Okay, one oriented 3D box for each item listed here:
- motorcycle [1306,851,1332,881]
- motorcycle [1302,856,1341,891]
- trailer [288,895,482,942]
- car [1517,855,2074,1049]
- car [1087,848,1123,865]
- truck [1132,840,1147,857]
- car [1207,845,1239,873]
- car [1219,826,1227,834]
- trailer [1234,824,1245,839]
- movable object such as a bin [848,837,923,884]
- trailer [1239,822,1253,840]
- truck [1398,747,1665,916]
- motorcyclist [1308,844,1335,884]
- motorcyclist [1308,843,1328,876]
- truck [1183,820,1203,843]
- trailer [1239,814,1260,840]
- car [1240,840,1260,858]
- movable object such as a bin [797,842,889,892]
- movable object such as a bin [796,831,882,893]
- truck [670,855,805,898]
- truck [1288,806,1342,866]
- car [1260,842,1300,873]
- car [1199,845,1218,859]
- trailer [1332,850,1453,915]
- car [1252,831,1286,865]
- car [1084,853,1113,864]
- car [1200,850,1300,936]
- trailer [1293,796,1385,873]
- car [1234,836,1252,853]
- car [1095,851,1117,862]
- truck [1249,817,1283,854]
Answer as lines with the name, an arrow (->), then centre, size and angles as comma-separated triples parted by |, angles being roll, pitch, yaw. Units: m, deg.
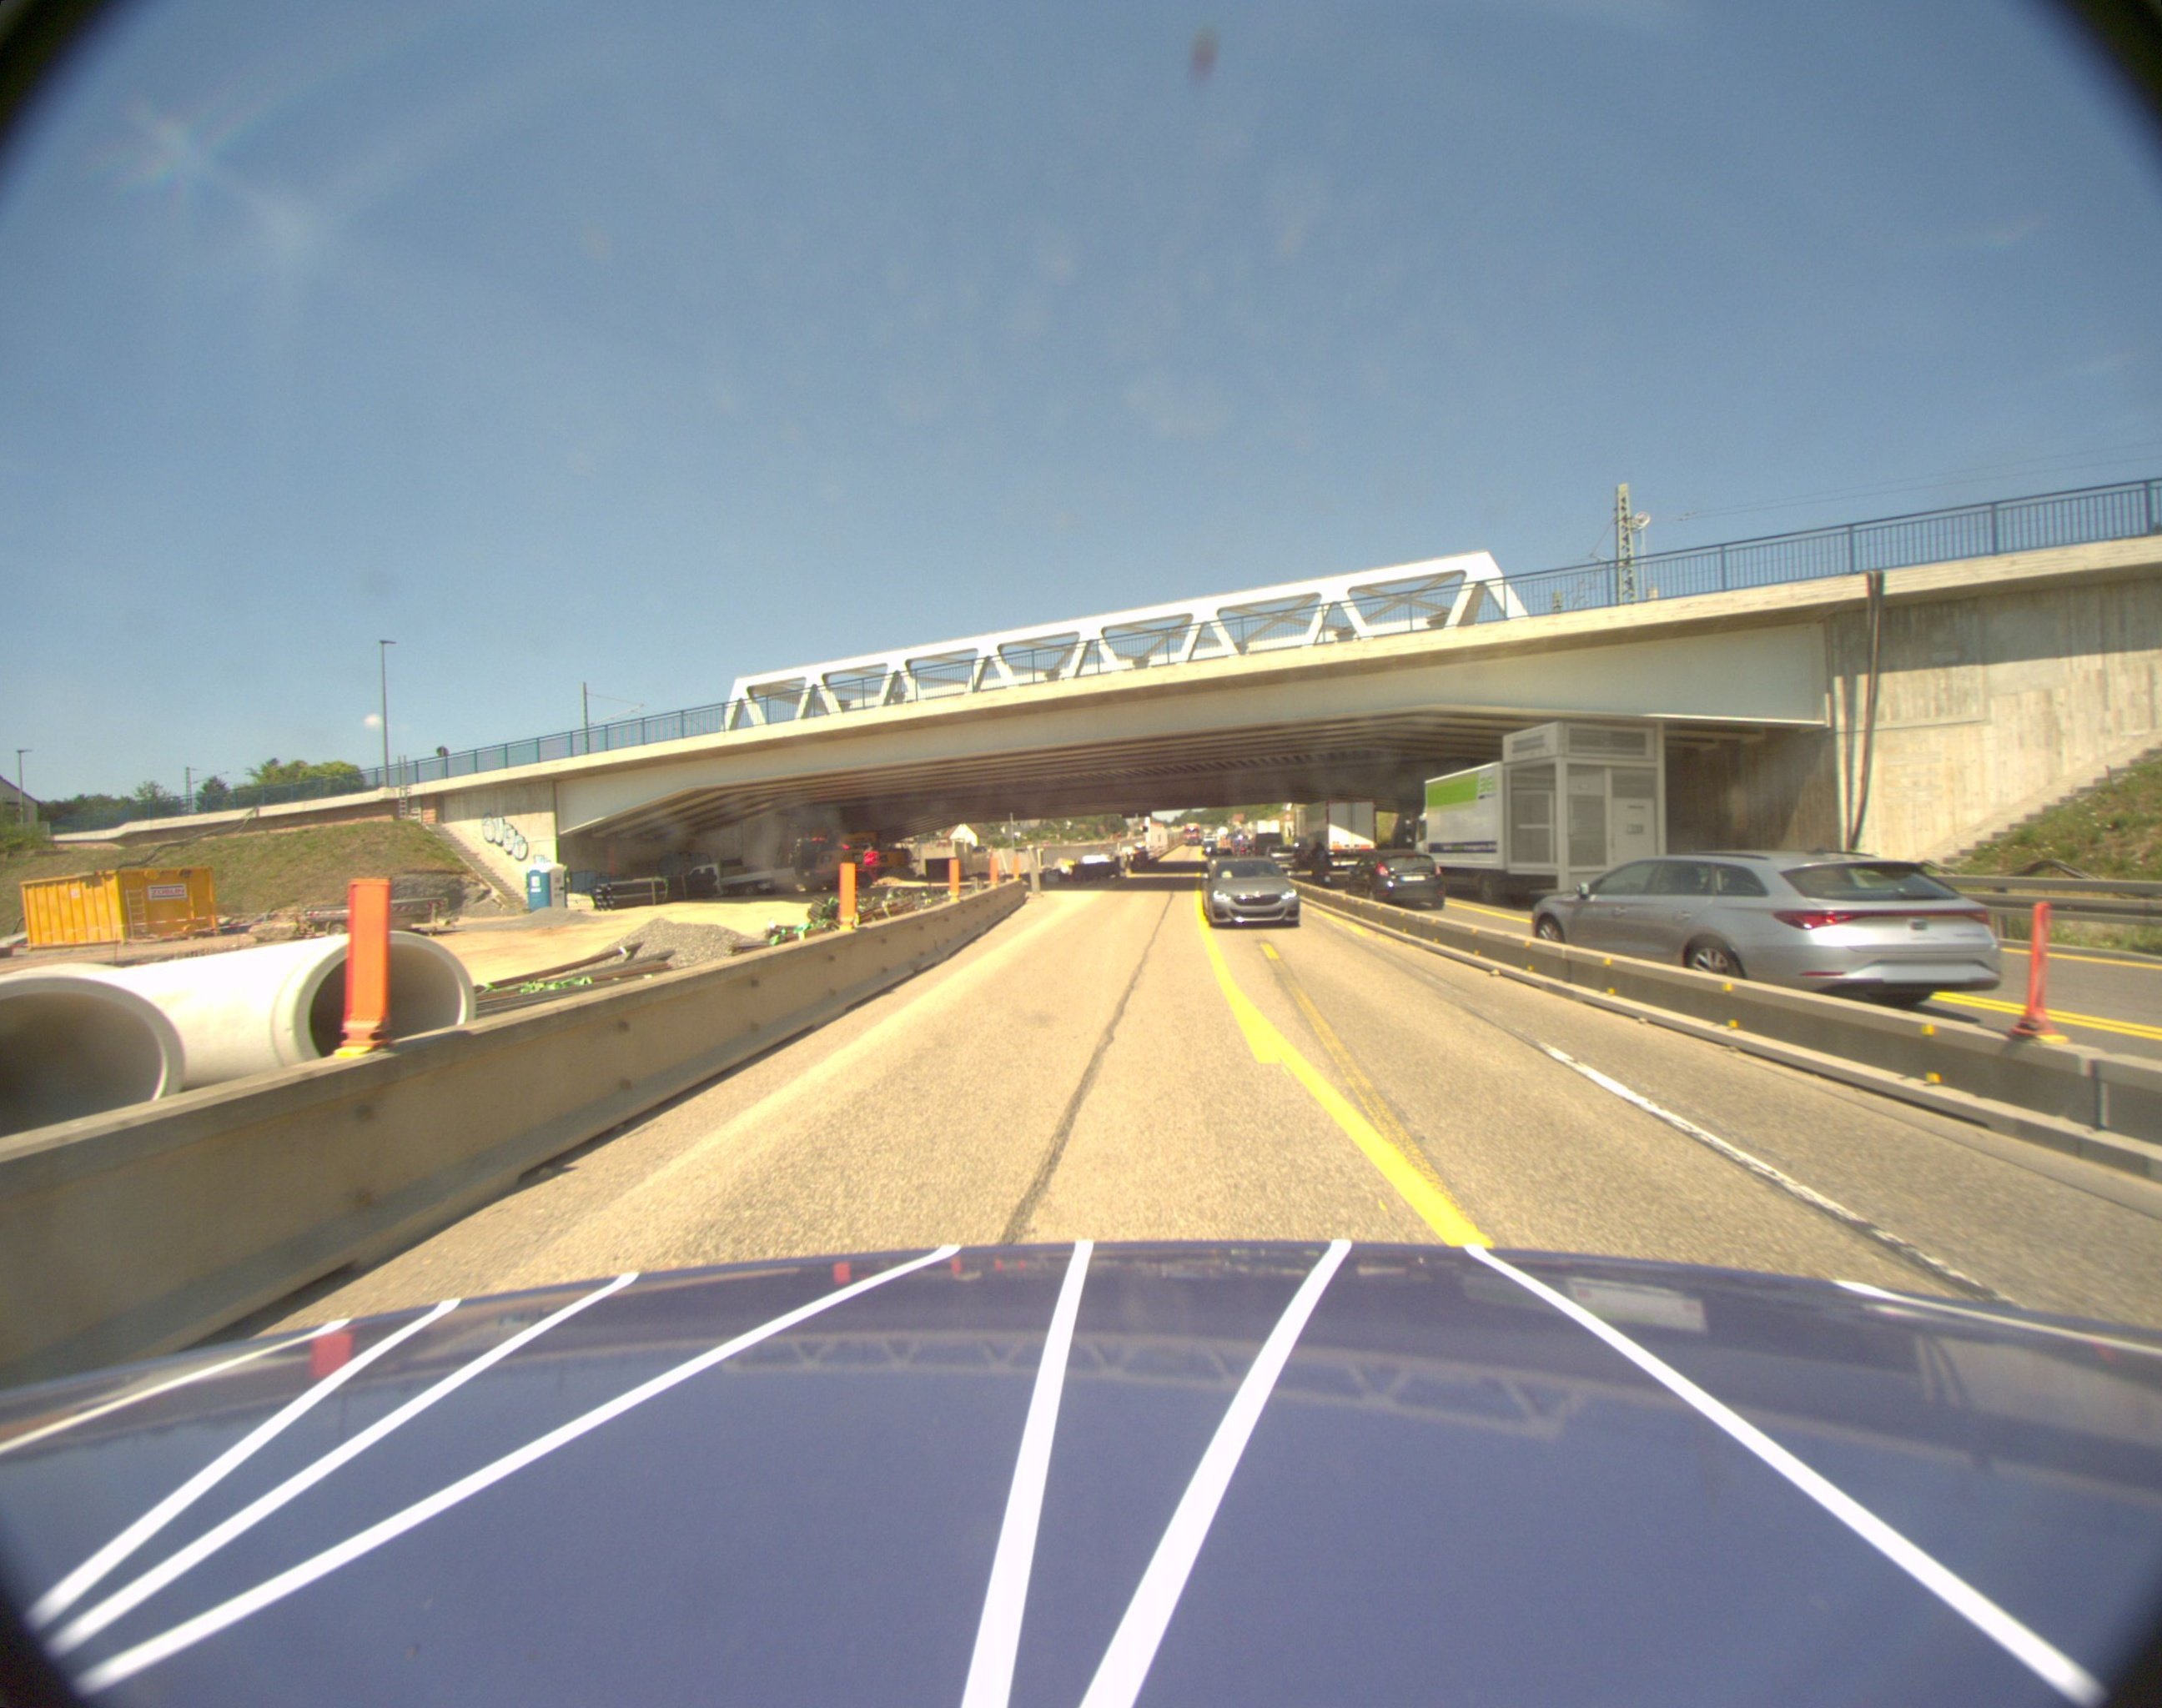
motorcycle -> 10.712, 0.504, 34.310 | 0.704, 1.272, 2.736 | -1, 1, 9
motorcycle -> 8.964, 0.708, 28.426 | 0.834, 1.143, 2.791 | -1, 1, 7
trailer -> -22.305, 2.051, 24.447 | 4.722, 1.213, 2.056 | -1, 3, 9
car -> 6.788, 0.768, 8.119 | 1.849, 1.455, 4.525 | -2, 0, 3
car -> 4.358, 0.498, 140.023 | 6.304, 2.566, 2.054 | -5, 0, -4
truck -> 12.506, -1.144, 162.116 | 2.503, 3.386, 5.438 | -1, 3, 10
car -> 8.817, 0.270, 47.065 | 1.837, 1.465, 4.391 | -1, 2, 11
car -> 48.095, -8.286, 257.548 | 2.210, 2.615, 6.630 | -1, 2, 9
trailer -> 42.896, -6.202, 206.232 | 2.604, 3.849, 11.278 | -1, 2, 11
movable object such as a bin -> -15.134, 0.455, 58.929 | 4.560, 3.269, 2.992 | -3, 2, 13
trailer -> 38.359, -5.405, 176.347 | 2.659, 3.795, 11.828 | -1, 2, 14
truck -> 11.494, -0.502, 20.648 | 2.823, 3.555, 8.500 | -2, 0, 5
motorcyclist -> 8.926, 0.355, 28.174 | 0.812, 1.408, 0.743 | -1, 3, 7
motorcyclist -> 10.703, 0.238, 34.319 | 0.719, 1.408, 0.743 | -1, 3, 7
truck -> 20.908, -4.199, 141.295 | 3.461, 4.025, 10.214 | -1, 2, 10
trailer -> 28.382, -4.535, 128.291 | 2.818, 4.151, 8.245 | -1, 3, 9
car -> 16.191, -0.469, 72.912 | 1.752, 1.600, 4.143 | -1, 1, 10
movable object such as a bin -> -16.188, 0.883, 51.750 | 5.247, 3.040, 2.498 | -3, 2, 13
movable object such as a bin -> -15.045, 0.462, 47.390 | 3.885, 3.523, 2.906 | -3, 2, 20
truck -> -19.398, 1.274, 43.012 | 6.531, 2.061, 2.667 | -3, 1, 13
truck -> 16.971, -1.298, 55.393 | 2.879, 4.028, 4.887 | -3, 1, 8
car -> 11.309, 0.187, 43.345 | 1.750, 1.661, 4.081 | -1, 0, 9
car -> 15.165, -0.275, 90.719 | 1.800, 1.543, 4.001 | -2, 0, 4
trailer -> 7.871, 0.654, 19.600 | 1.668, 1.423, 4.000 | -2, 1, 4
car -> 13.764, -0.496, 55.873 | 1.984, 2.317, 6.061 | -1, 1, 10
car -> 3.025, 0.787, 133.537 | 4.798, 1.759, 1.721 | -3, 1, 10
car -> 3.682, 0.750, 16.721 | 1.836, 1.588, 4.393 | -1, 1, 12
trailer -> 15.883, -1.167, 48.145 | 2.882, 4.016, 14.365 | -3, 0, 9
car -> 19.321, -1.170, 90.764 | 1.803, 1.922, 4.970 | -1, 1, 8
car -> 4.484, 0.386, 136.724 | 3.868, 1.676, 1.693 | -3, 2, 4
truck -> 23.284, -2.486, 96.185 | 2.774, 4.290, 13.492 | -1, 2, 8
